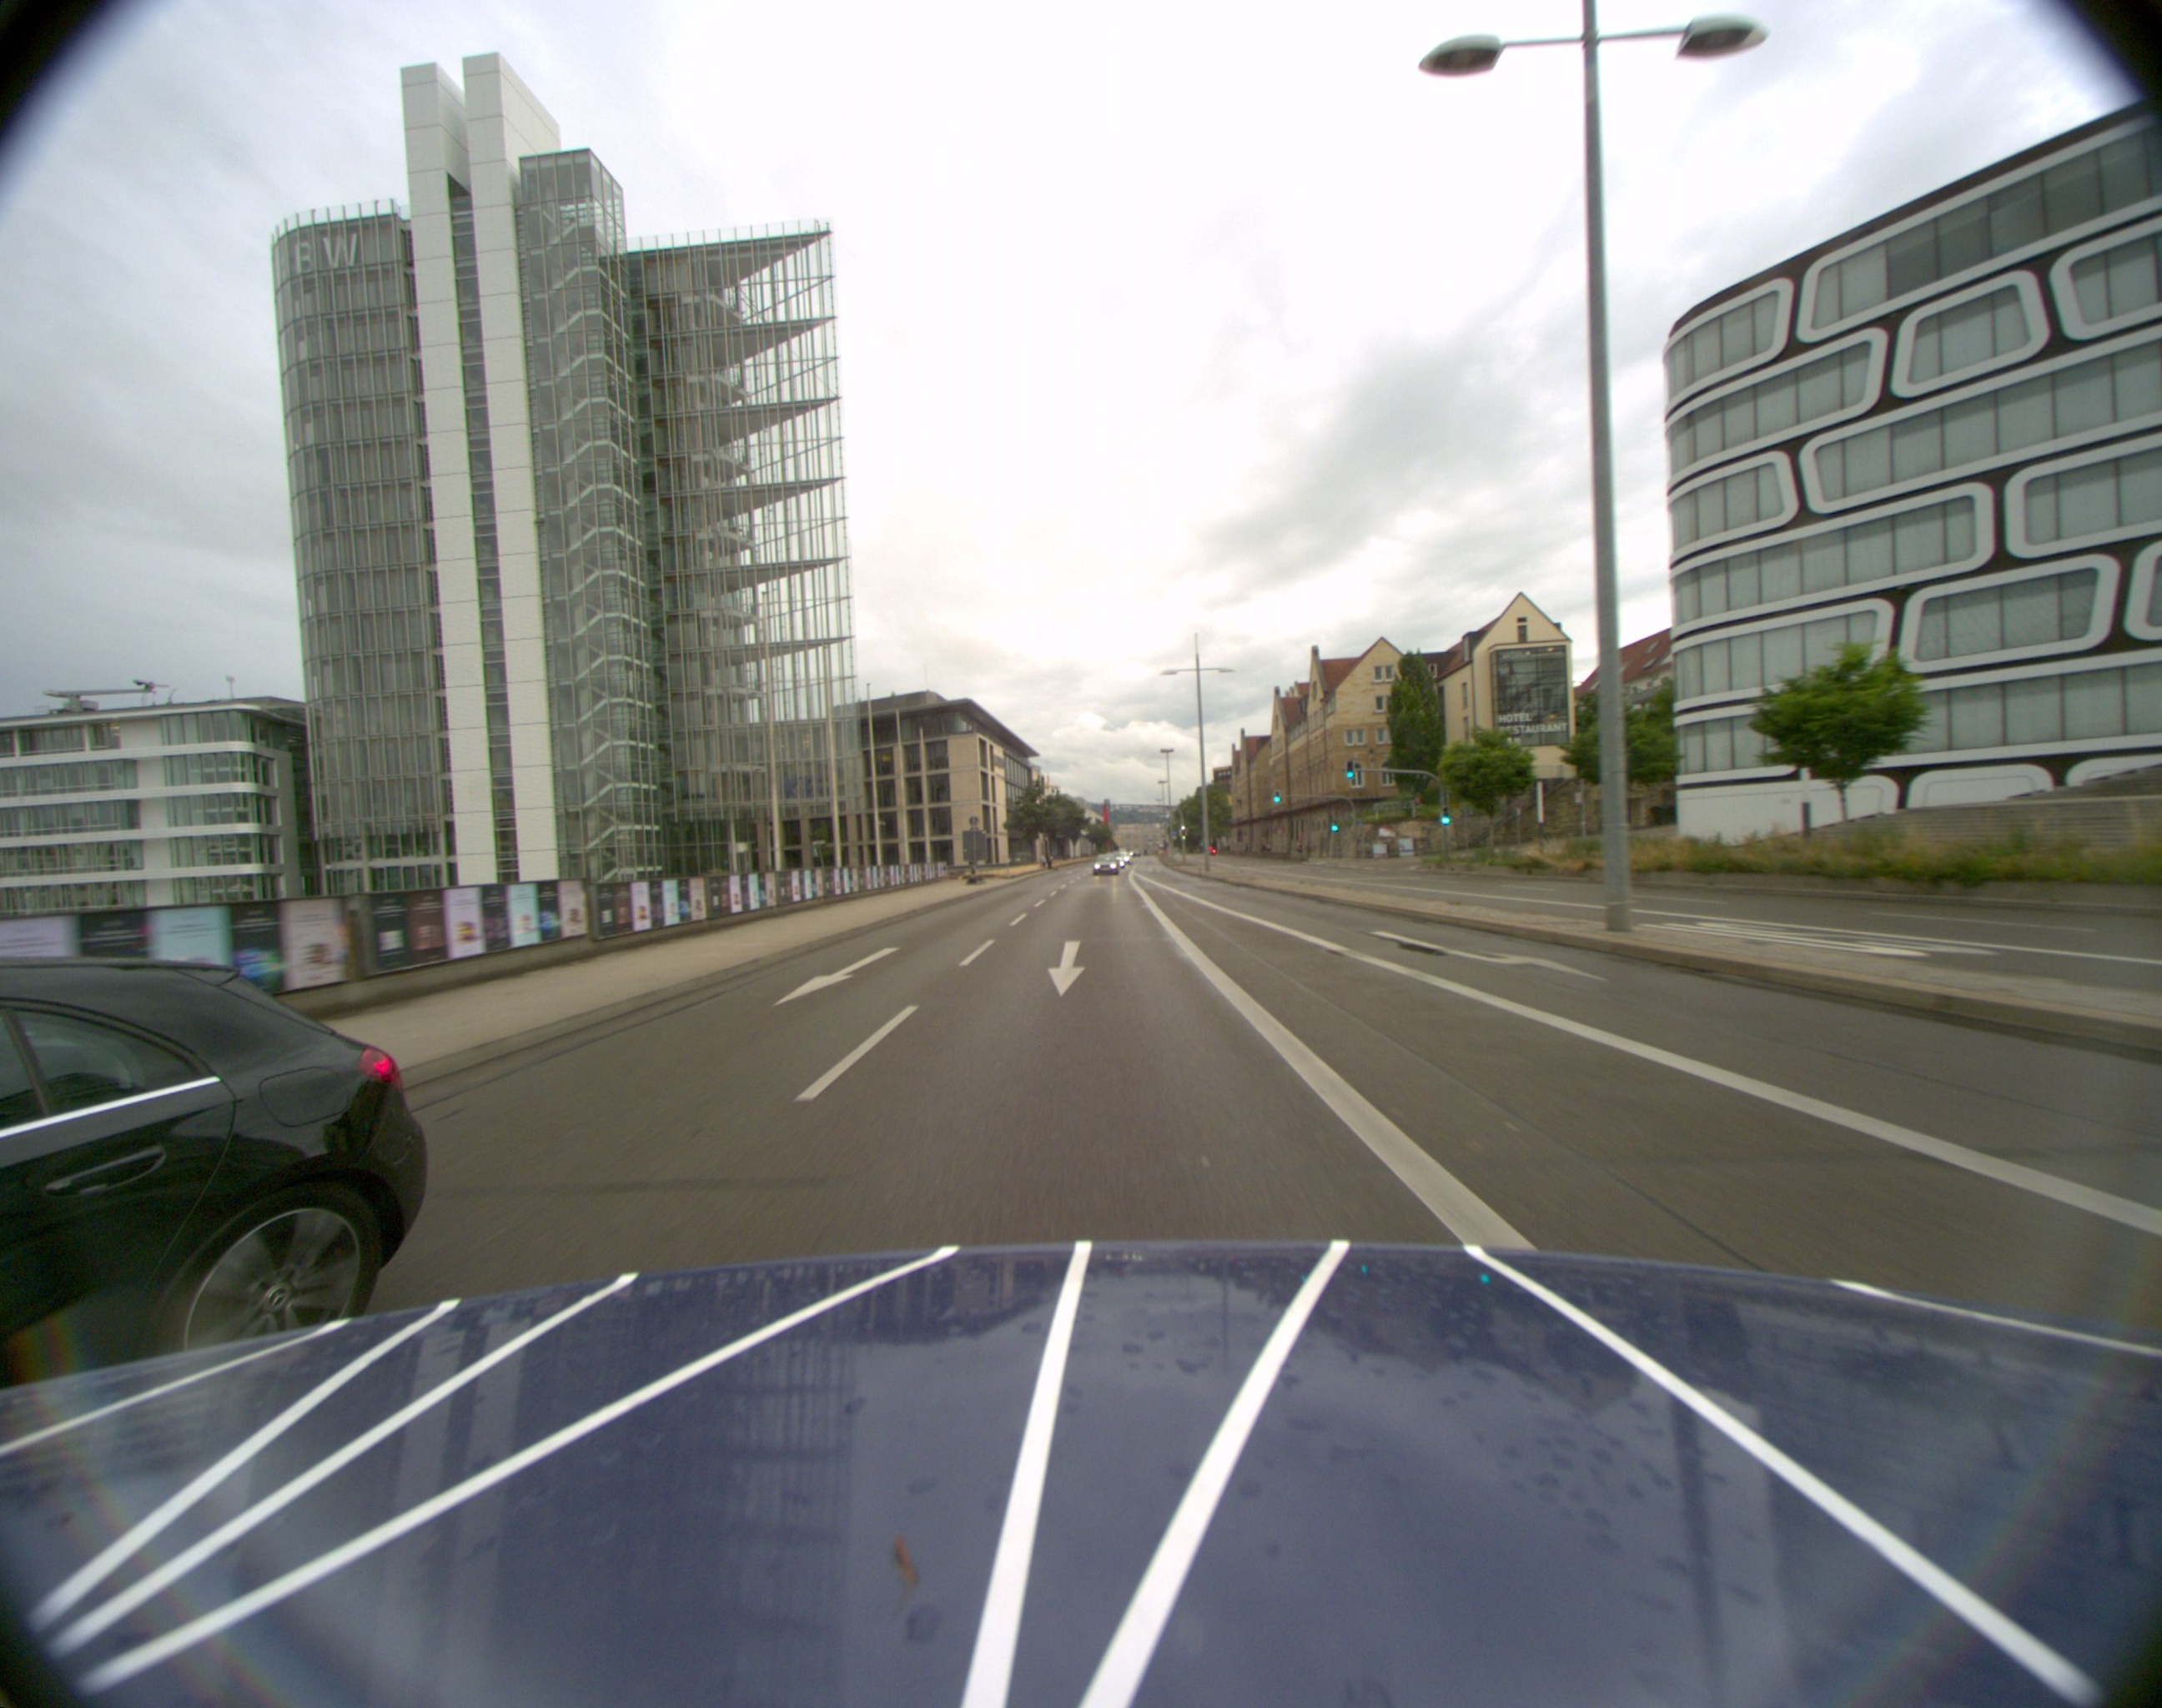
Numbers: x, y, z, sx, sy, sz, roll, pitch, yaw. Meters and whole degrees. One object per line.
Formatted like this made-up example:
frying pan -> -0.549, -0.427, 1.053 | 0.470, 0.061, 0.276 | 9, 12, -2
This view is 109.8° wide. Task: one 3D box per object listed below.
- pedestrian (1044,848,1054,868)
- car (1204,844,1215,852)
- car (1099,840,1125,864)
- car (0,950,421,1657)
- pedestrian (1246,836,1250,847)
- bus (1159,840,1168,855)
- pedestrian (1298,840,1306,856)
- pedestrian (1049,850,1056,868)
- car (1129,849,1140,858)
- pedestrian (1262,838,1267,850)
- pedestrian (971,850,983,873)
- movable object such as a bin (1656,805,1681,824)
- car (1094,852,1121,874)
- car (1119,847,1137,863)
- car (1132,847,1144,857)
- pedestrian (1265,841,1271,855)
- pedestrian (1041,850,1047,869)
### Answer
pedestrian -> -2.848, 0.334, 67.724 | 0.728, 1.761, 0.783 | -2, 2, 2
car -> 24.676, -1.102, 145.991 | 1.714, 1.455, 4.001 | -3, 0, 5
car -> 2.789, -0.200, 69.858 | 1.999, 2.002, 3.998 | -2, 1, -2
car -> -3.206, 1.091, 0.561 | 1.727, 1.368, 4.154 | -2, 1, 0
pedestrian -> 28.380, -2.117, 129.177 | 0.677, 1.769, 0.684 | -2, 2, 5
bus -> 25.622, -2.049, 235.608 | 2.499, 3.315, 8.459 | -2, -7, 5
pedestrian -> 24.229, -0.666, 83.298 | 0.677, 1.769, 0.684 | -2, 2, 5
pedestrian -> -2.462, 0.455, 66.551 | 0.542, 1.519, 0.600 | -2, 2, -1
car -> 12.774, -0.100, 182.054 | 1.999, 2.002, 3.998 | -2, 1, -2
pedestrian -> 26.943, -1.512, 111.641 | 0.677, 1.769, 0.684 | -2, 2, 5
pedestrian -> -7.400, 0.512, 54.297 | 0.660, 1.601, 0.547 | -3, 1, 5
movable object such as a bin -> 43.757, -2.915, 56.616 | 0.826, 1.236, 1.119 | -9, -2, 4
car -> 1.833, 0.602, 53.783 | 1.684, 1.379, 3.475 | -2, 1, -1
car -> 5.537, 0.151, 88.606 | 1.970, 1.815, 3.929 | -2, -1, 5
car -> 12.617, -0.454, 168.535 | 1.999, 2.002, 3.998 | -2, 1, -2
pedestrian -> 25.328, -0.805, 103.018 | 0.677, 1.769, 0.684 | -2, 2, 5
pedestrian -> -3.178, 0.460, 65.666 | 0.461, 1.590, 0.656 | -2, 2, -4
